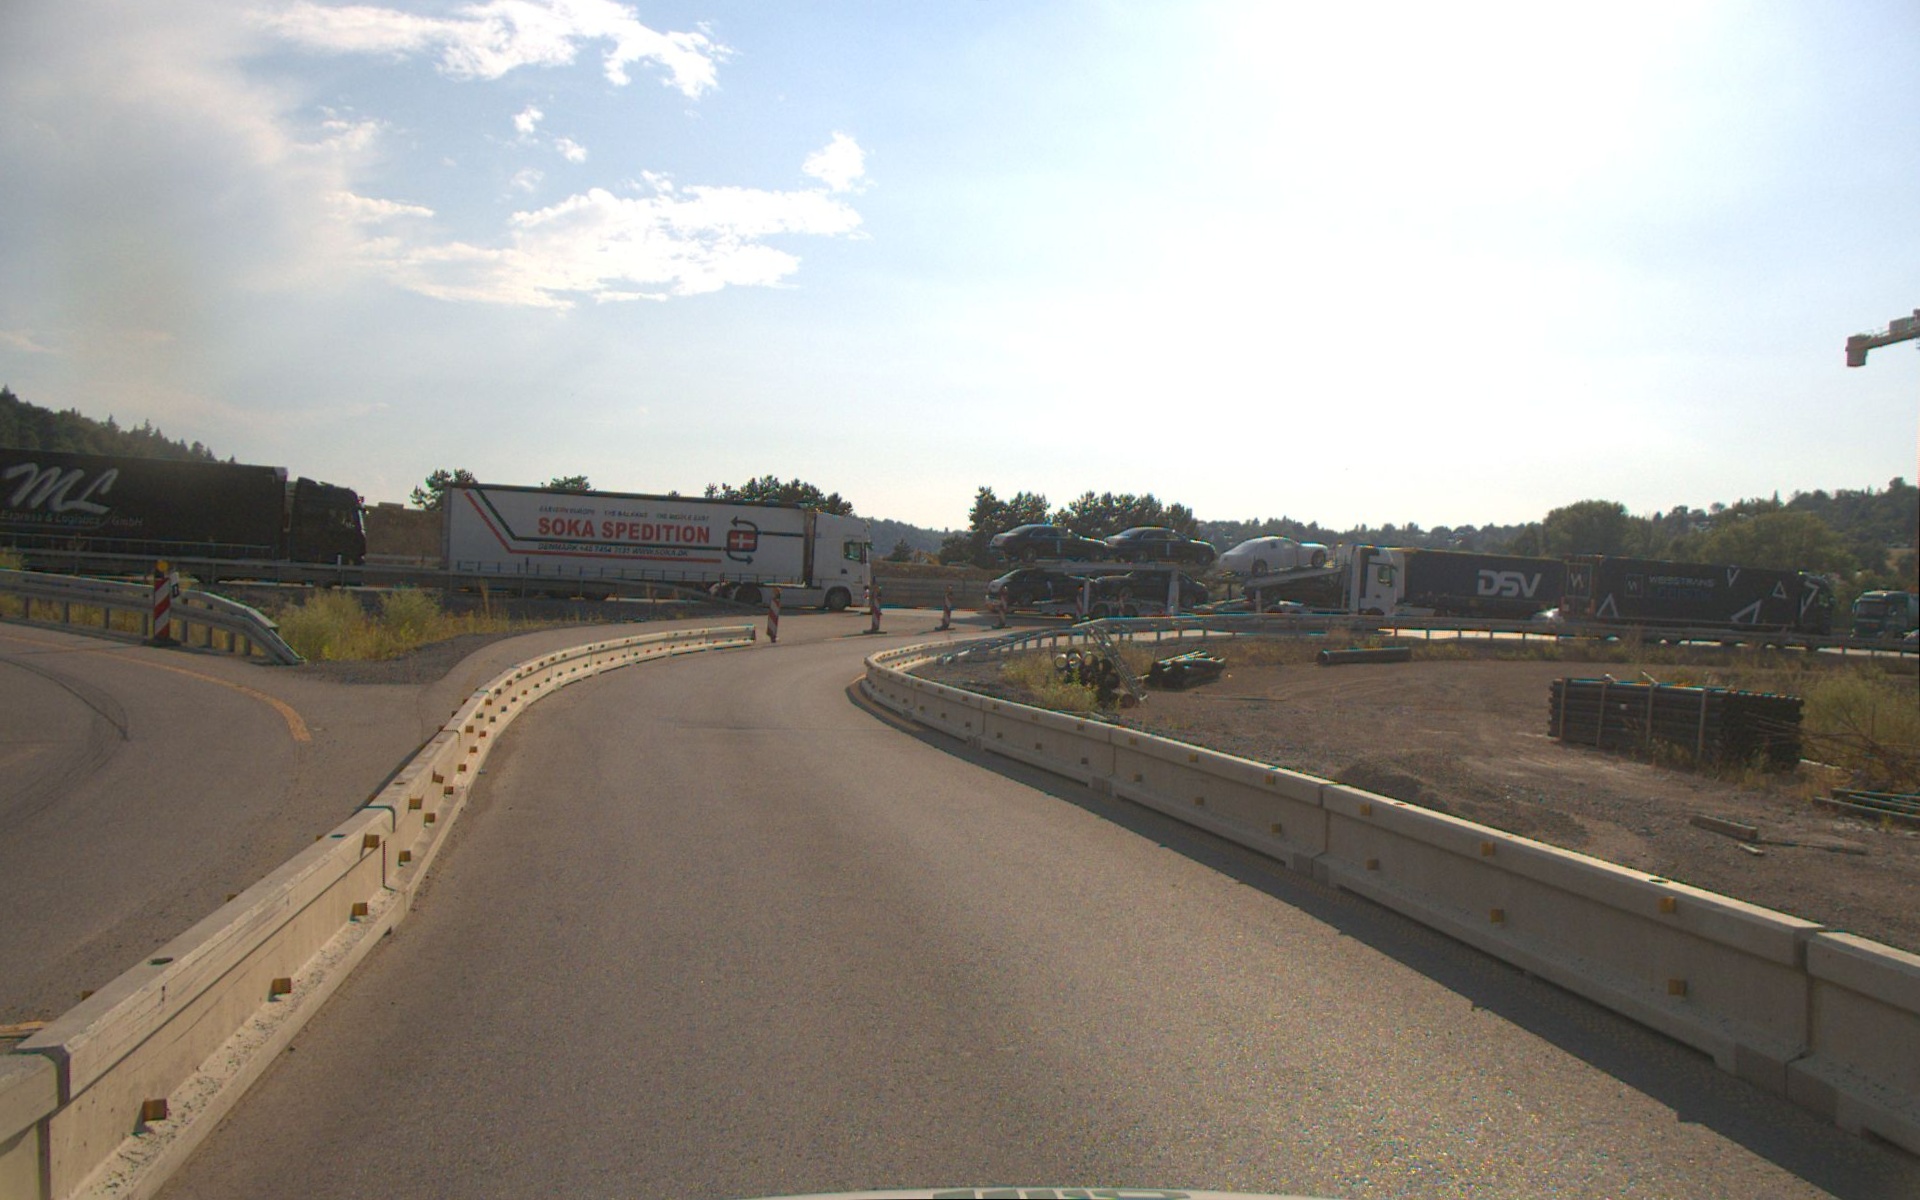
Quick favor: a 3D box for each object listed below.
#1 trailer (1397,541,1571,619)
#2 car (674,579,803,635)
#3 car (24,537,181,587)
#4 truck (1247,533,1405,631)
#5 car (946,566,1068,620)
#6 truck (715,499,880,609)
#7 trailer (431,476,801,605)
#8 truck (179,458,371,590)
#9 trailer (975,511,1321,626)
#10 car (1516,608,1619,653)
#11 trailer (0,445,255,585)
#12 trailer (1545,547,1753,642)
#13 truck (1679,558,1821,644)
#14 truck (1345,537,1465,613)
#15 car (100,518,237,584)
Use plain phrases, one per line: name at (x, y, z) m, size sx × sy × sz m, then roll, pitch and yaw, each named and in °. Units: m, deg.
trailer at (29.212, -1.069, 92.116) m, size 9.406 × 3.817 × 2.996 m, roll 3°, pitch -1°, yaw -22°
car at (-9.119, 0.288, 68.085) m, size 4.894 × 2.015 × 2.022 m, roll 3°, pitch 2°, yaw -22°
car at (-31.517, -1.401, 60.988) m, size 4.894 × 1.526 × 2.022 m, roll 3°, pitch 2°, yaw -22°
truck at (16.783, -0.820, 75.766) m, size 6.514 × 4.066 × 2.838 m, roll 3°, pitch 0°, yaw -23°
car at (2.073, -0.311, 72.451) m, size 4.894 × 2.015 × 2.022 m, roll 3°, pitch 2°, yaw -22°
truck at (-6.456, -1.783, 65.703) m, size 5.912 × 3.945 × 2.471 m, roll 3°, pitch 0°, yaw -24°
trailer at (-12.895, -2.152, 62.861) m, size 13.405 × 3.945 × 2.471 m, roll 3°, pitch 0°, yaw -24°
truck at (-23.966, -2.606, 57.929) m, size 5.915 × 4.130 × 2.469 m, roll 3°, pitch 0°, yaw -25°
trailer at (8.382, -1.277, 72.111) m, size 15.483 × 4.066 × 2.846 m, roll 3°, pitch 0°, yaw -24°
car at (31.643, 1.580, 86.181) m, size 4.894 × 2.015 × 2.022 m, roll 3°, pitch 2°, yaw -22°
trailer at (-30.743, -2.932, 54.813) m, size 13.407 × 4.132 × 2.470 m, roll 3°, pitch 0°, yaw -24°
trailer at (34.793, -0.239, 83.425) m, size 10.608 × 4.163 × 2.949 m, roll 3°, pitch -1°, yaw -22°
truck at (41.078, 0.068, 86.017) m, size 6.510 × 4.066 × 2.876 m, roll 3°, pitch 0°, yaw -22°
truck at (24.232, -1.310, 90.053) m, size 5.591 × 3.792 × 2.986 m, roll 3°, pitch -1°, yaw -23°
car at (-28.211, -1.716, 59.097) m, size 4.260 × 2.049 × 1.515 m, roll 3°, pitch -1°, yaw -24°
